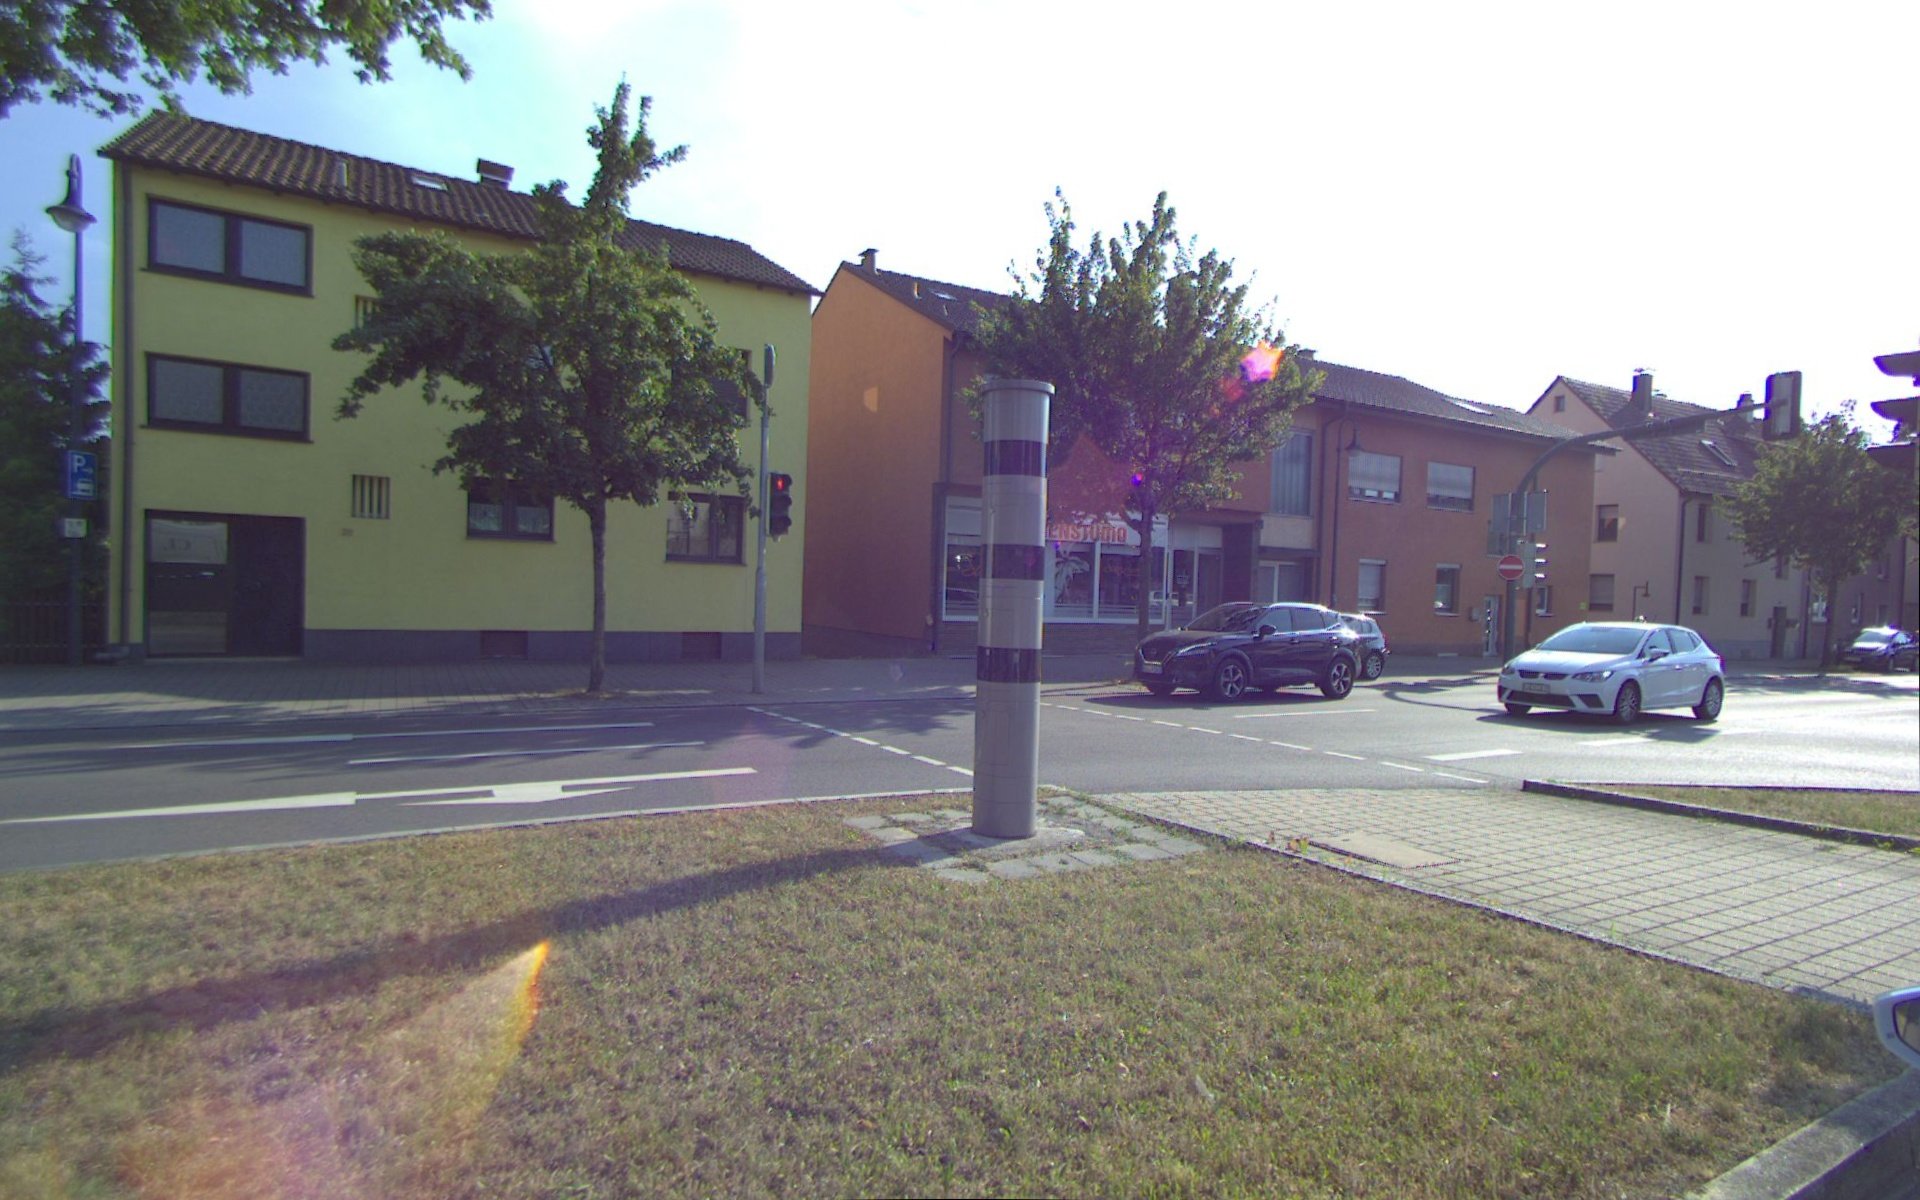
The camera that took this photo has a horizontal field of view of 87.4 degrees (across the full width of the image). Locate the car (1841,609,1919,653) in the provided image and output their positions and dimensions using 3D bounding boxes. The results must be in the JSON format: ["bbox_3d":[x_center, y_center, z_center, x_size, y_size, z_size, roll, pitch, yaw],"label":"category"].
[{"bbox_3d":[45.643,1.526,48.845,1.757,1.906,3.805,2,2,-28],"label":"car"}]

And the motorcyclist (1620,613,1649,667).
[{"bbox_3d":[15.893,0.938,23.682,0.457,1.245,0.401,1,1,-33],"label":"motorcyclist"}]

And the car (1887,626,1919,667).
[{"bbox_3d":[37.823,1.809,39.057,4.087,1.531,1.610,1,0,-32],"label":"car"}]

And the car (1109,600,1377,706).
[{"bbox_3d":[4.911,0.850,17.317,4.405,1.617,1.847,1,0,-29],"label":"car"}]

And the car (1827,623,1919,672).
[{"bbox_3d":[32.331,1.645,35.413,3.842,1.531,1.504,1,2,-32],"label":"car"}]

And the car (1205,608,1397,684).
[{"bbox_3d":[7.425,0.960,21.842,3.894,1.433,1.787,1,2,-29],"label":"car"}]

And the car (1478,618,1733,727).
[{"bbox_3d":[9.982,1.035,15.483,3.954,1.430,1.748,1,0,-31],"label":"car"}]
